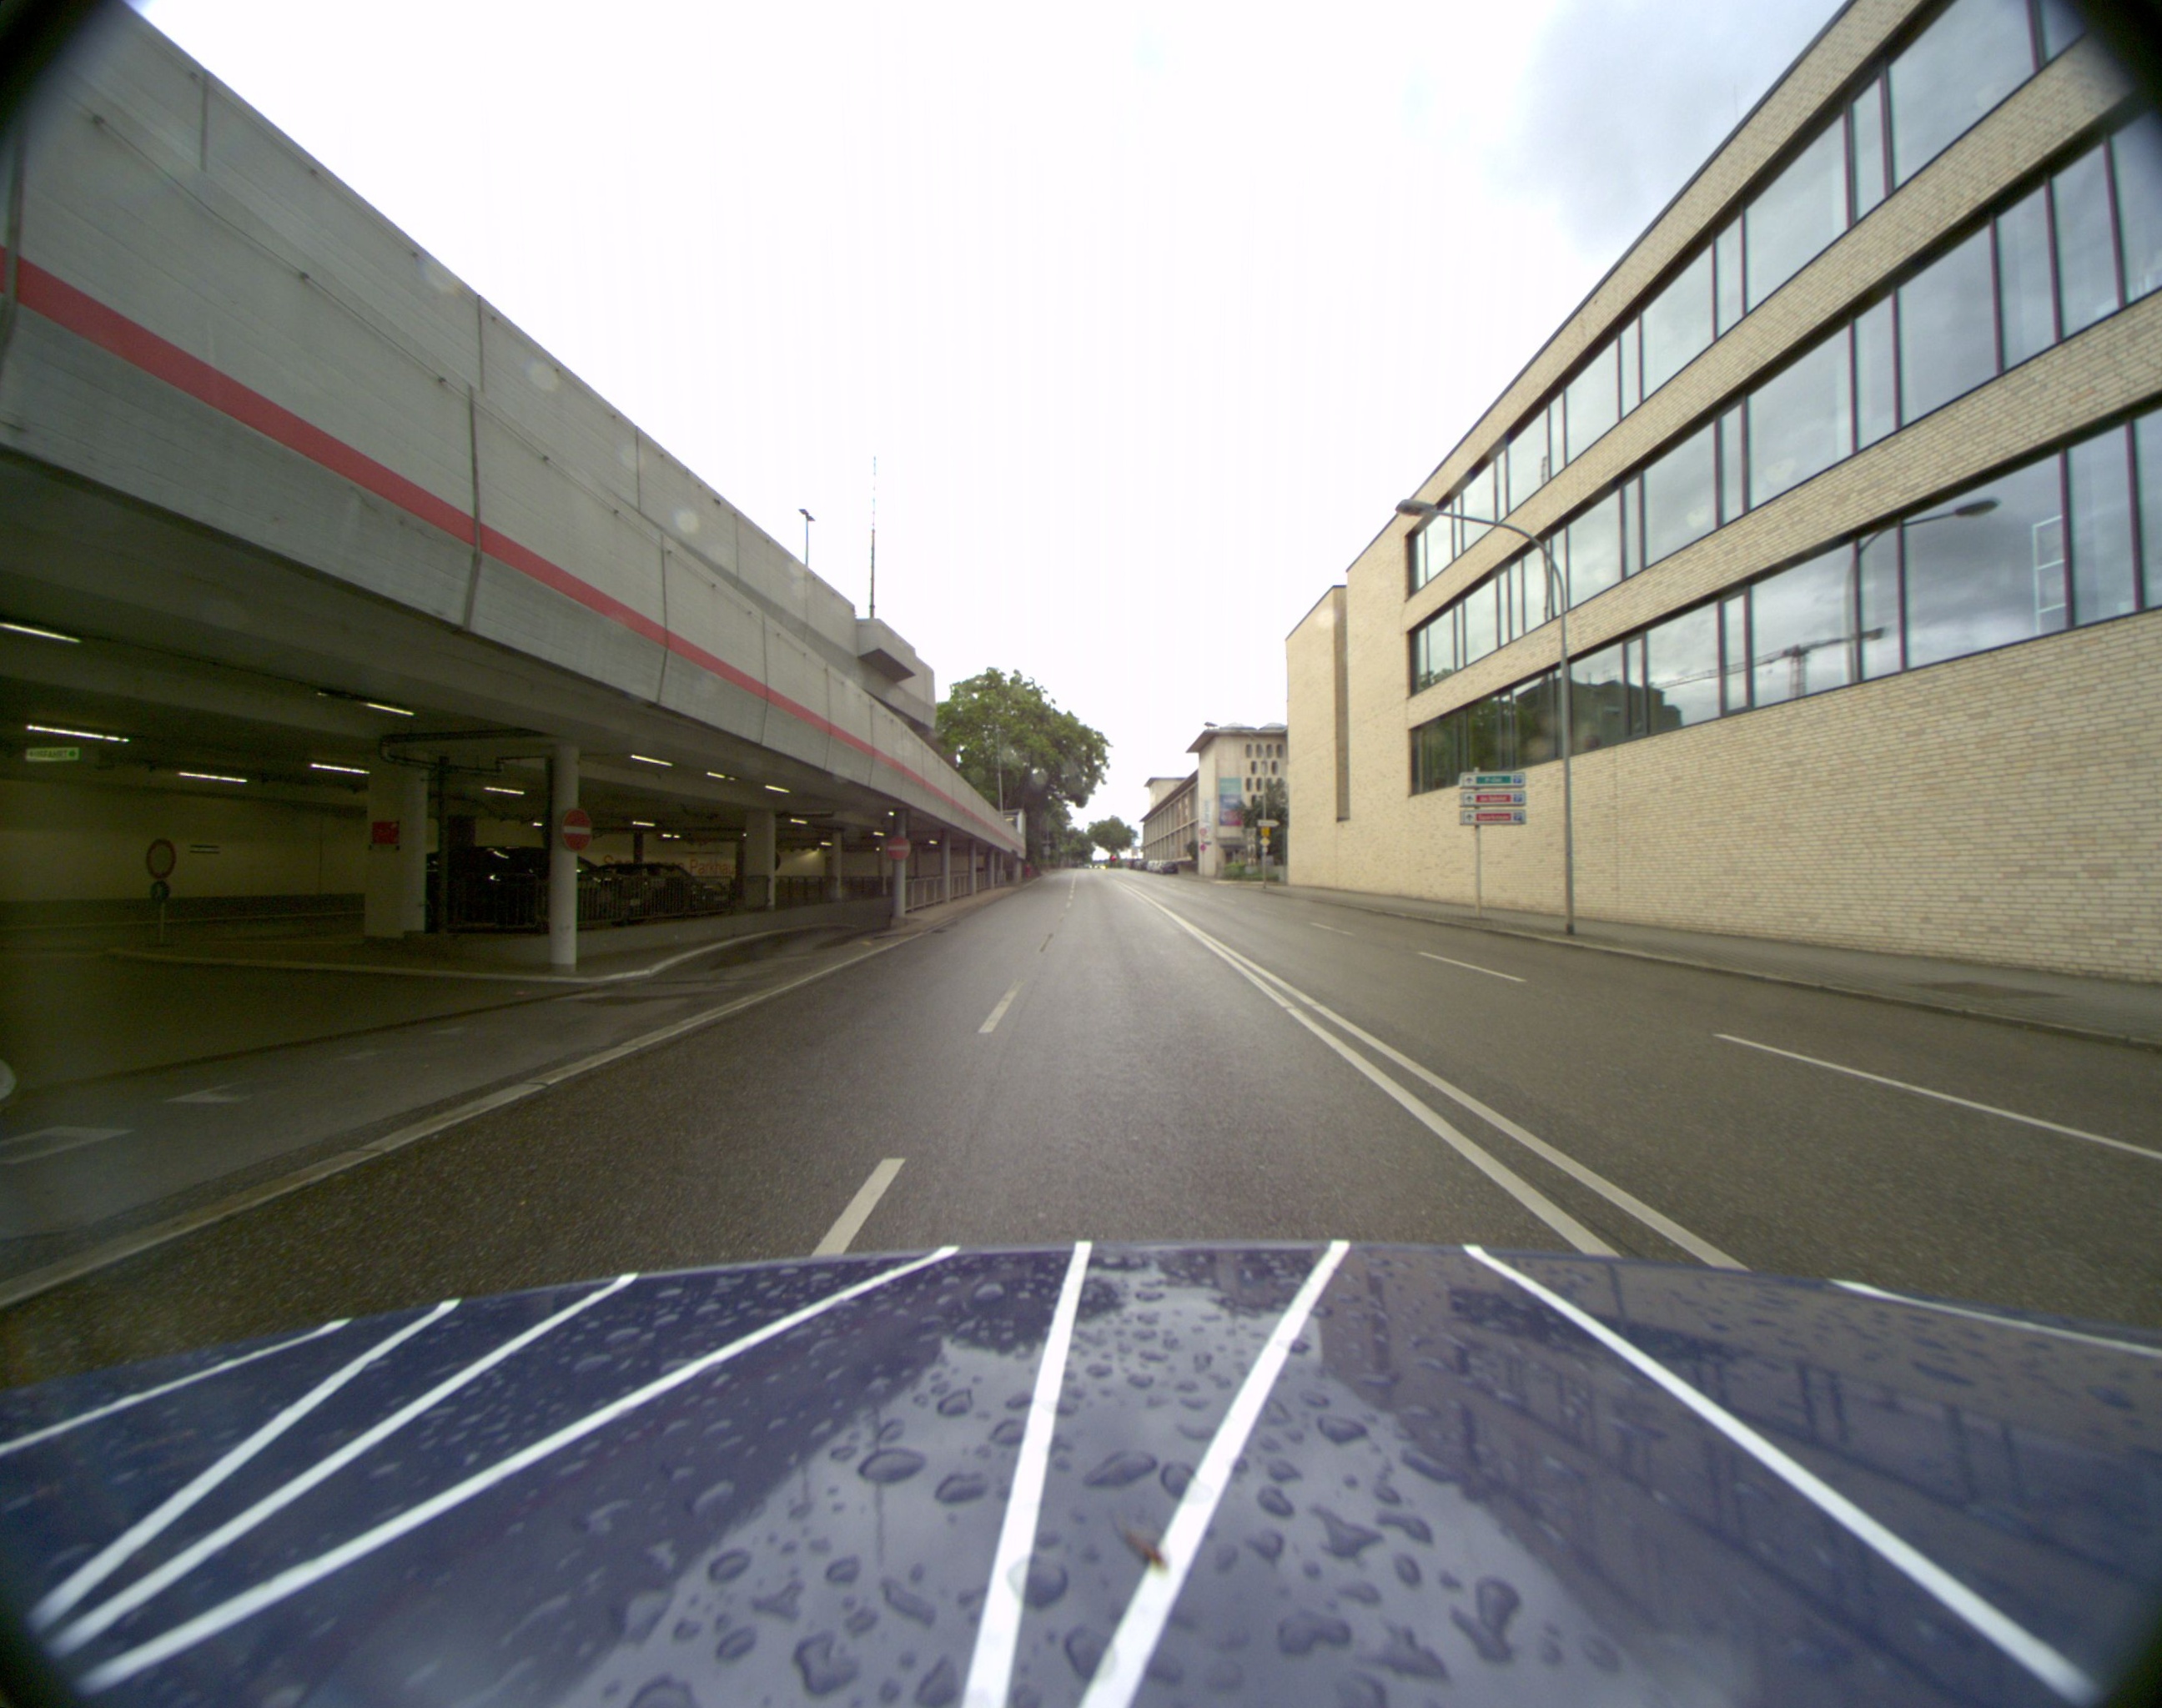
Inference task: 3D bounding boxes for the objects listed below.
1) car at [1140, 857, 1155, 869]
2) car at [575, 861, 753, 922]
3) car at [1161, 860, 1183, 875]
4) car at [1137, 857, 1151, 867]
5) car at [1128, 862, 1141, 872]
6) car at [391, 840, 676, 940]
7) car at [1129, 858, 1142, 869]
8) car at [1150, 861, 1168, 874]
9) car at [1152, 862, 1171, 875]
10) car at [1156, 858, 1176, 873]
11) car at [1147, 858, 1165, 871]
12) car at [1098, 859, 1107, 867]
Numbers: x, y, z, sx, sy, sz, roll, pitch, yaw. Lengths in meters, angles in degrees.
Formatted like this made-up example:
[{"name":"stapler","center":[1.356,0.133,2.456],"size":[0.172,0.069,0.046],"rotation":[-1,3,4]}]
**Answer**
[{"name":"car","center":[10.228,1.398,116.944],"size":[1.999,1.701,3.999],"rotation":[0,1,0]},{"name":"car","center":[-10.889,0.948,19.986],"size":[3.730,1.496,1.808],"rotation":[0,-1,7]},{"name":"car","center":[10.365,1.486,86.653],"size":[1.999,1.520,3.999],"rotation":[-2,1,-1]},{"name":"car","center":[10.785,1.339,130.042],"size":[1.999,1.528,3.999],"rotation":[-2,1,0]},{"name":"car","center":[9.152,2.162,130.125],"size":[1.998,1.569,3.999],"rotation":[-2,1,0]},{"name":"car","center":[-10.696,0.689,14.965],"size":[4.584,1.630,1.823],"rotation":[-3,-1,10]},{"name":"car","center":[9.869,1.712,138.347],"size":[1.999,1.637,3.998],"rotation":[-3,2,-1]},{"name":"car","center":[10.546,1.808,102.508],"size":[1.998,1.482,4.185],"rotation":[-2,1,1]},{"name":"car","center":[10.326,1.876,97.624],"size":[1.998,1.503,4.000],"rotation":[-2,1,1]},{"name":"car","center":[10.277,1.331,92.002],"size":[1.998,1.632,3.999],"rotation":[-2,1,0]},{"name":"car","center":[10.741,1.450,108.731],"size":[1.999,1.521,3.999],"rotation":[-6,1,-1]},{"name":"car","center":[5.894,2.379,208.453],"size":[1.805,2.002,3.998],"rotation":[-2,1,-5]}]
